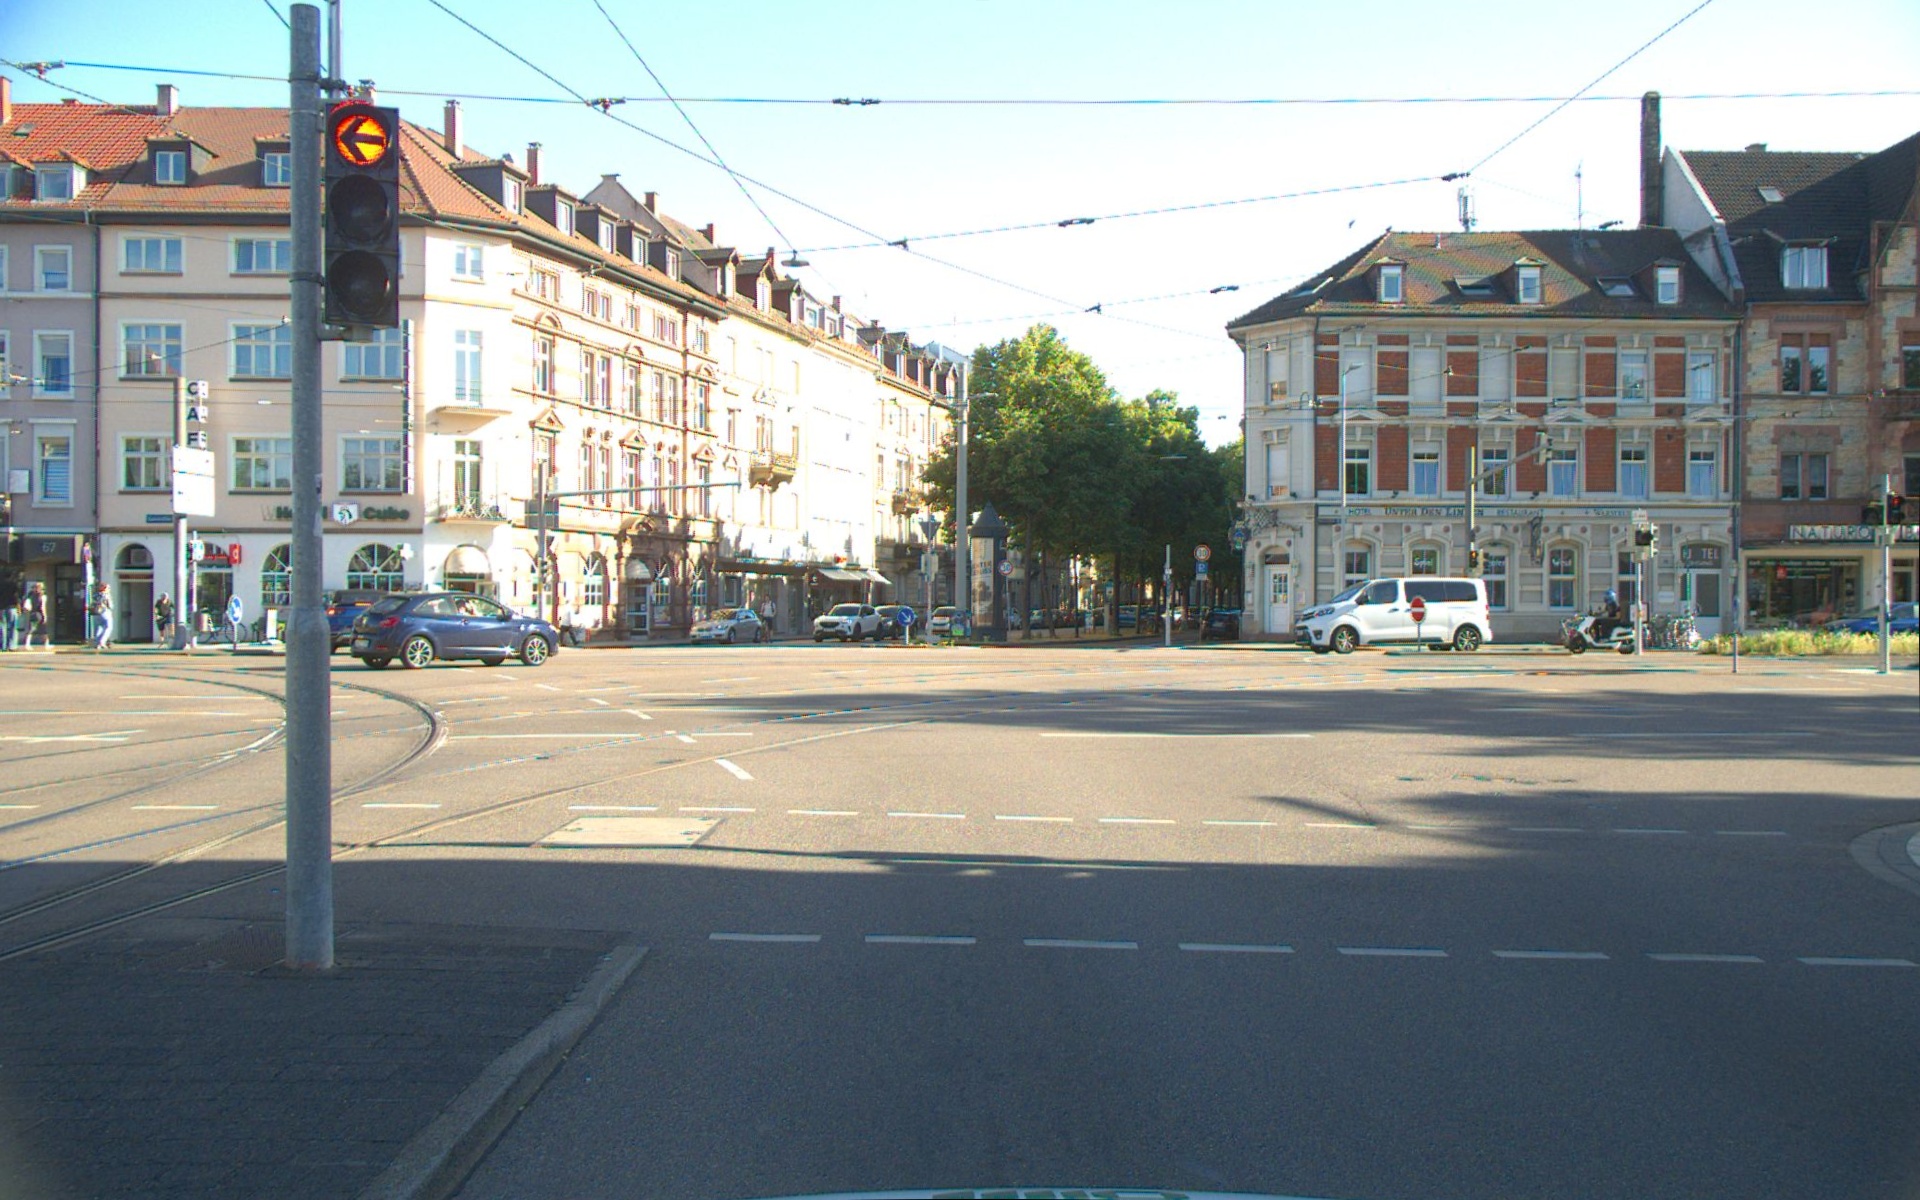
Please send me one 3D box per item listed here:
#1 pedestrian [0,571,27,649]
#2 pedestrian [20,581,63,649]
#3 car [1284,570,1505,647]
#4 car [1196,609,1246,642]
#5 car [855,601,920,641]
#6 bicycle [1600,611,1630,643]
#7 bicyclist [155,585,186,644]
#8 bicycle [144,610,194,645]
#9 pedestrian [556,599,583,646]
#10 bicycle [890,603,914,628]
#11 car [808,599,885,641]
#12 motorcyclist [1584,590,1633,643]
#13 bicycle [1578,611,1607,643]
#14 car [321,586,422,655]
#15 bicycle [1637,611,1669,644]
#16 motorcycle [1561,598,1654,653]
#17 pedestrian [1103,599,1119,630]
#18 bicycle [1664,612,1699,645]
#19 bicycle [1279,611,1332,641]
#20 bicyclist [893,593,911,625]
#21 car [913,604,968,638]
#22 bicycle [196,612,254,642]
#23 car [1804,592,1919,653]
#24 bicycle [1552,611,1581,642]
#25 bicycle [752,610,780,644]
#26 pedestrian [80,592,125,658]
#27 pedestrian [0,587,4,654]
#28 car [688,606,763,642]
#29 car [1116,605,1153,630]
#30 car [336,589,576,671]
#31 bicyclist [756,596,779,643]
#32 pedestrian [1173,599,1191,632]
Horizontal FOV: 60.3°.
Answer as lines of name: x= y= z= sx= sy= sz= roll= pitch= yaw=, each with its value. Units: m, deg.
pedestrian: x=-22.975 y=0.234 z=39.915 sx=0.516 sy=1.854 sz=0.676 roll=1 pitch=-1 yaw=-1
pedestrian: x=-22.932 y=0.374 z=41.308 sx=0.571 sy=1.677 sz=0.840 roll=1 pitch=-1 yaw=-1
car: x=11.046 y=0.206 z=42.209 sx=5.099 sy=1.886 sz=1.997 roll=0 pitch=0 yaw=-7
car: x=13.074 y=1.267 z=82.696 sx=1.719 sy=1.583 sz=4.001 roll=1 pitch=0 yaw=20
car: x=-3.193 y=0.927 z=73.549 sx=1.786 sy=1.715 sz=3.877 roll=1 pitch=0 yaw=16
bicycle: x=21.269 y=0.878 z=53.724 sx=0.749 sy=1.001 sz=2.211 roll=1 pitch=0 yaw=17
bicyclist: x=-24.851 y=0.453 z=52.050 sx=0.608 sy=1.822 sz=0.615 roll=1 pitch=-1 yaw=4
bicycle: x=-24.862 y=0.852 z=52.022 sx=0.608 sy=1.048 sz=1.755 roll=1 pitch=0 yaw=4
pedestrian: x=-14.148 y=0.812 z=59.956 sx=0.556 sy=1.671 sz=0.792 roll=1 pitch=-1 yaw=22
bicycle: x=-2.902 y=0.786 z=82.915 sx=0.659 sy=1.228 sz=1.822 roll=1 pitch=0 yaw=17
car: x=-4.569 y=0.803 z=67.178 sx=1.764 sy=1.613 sz=4.162 roll=1 pitch=0 yaw=16
motorcyclist: x=16.657 y=0.414 z=42.487 sx=0.993 sy=1.323 sz=0.790 roll=1 pitch=0 yaw=8
bicycle: x=20.558 y=0.866 z=53.795 sx=0.749 sy=0.985 sz=2.211 roll=1 pitch=0 yaw=17
car: x=-14.285 y=0.462 z=40.325 sx=1.793 sy=1.602 sz=4.185 roll=0 pitch=0 yaw=-13
bicycle: x=22.458 y=0.886 z=53.636 sx=0.749 sy=1.025 sz=2.221 roll=1 pitch=0 yaw=17
motorcycle: x=16.625 y=0.657 z=42.487 sx=2.090 sy=1.357 sz=0.797 roll=1 pitch=0 yaw=8
pedestrian: x=10.041 y=0.963 z=109.660 sx=0.923 sy=2.049 sz=0.827 roll=1 pitch=-1 yaw=13
bicycle: x=23.315 y=0.899 z=53.482 sx=0.775 sy=1.033 sz=2.211 roll=1 pitch=0 yaw=17
bicycle: x=11.976 y=0.901 z=57.285 sx=1.764 sy=0.979 sz=0.604 roll=1 pitch=0 yaw=14
bicyclist: x=-2.897 y=0.451 z=82.920 sx=0.659 sy=1.595 sz=0.748 roll=1 pitch=-1 yaw=17
car: x=-0.950 y=1.044 z=82.921 sx=1.764 sy=1.603 sz=3.893 roll=1 pitch=0 yaw=15
bicycle: x=-25.100 y=0.913 z=56.504 sx=1.666 sy=1.000 sz=0.611 roll=1 pitch=0 yaw=-1
car: x=25.915 y=0.632 z=46.027 sx=3.905 sy=1.650 sz=1.804 roll=1 pitch=0 yaw=0
bicycle: x=19.804 y=0.854 z=54.032 sx=0.749 sy=0.979 sz=2.211 roll=1 pitch=0 yaw=17
bicycle: x=-7.597 y=1.049 z=64.803 sx=0.553 sy=1.276 sz=1.558 roll=1 pitch=0 yaw=14
pedestrian: x=-21.366 y=0.621 z=41.227 sx=0.655 sy=1.622 sz=0.815 roll=1 pitch=-1 yaw=-1
pedestrian: x=-24.346 y=0.511 z=41.239 sx=0.561 sy=1.677 sz=0.727 roll=1 pitch=-1 yaw=-1
car: x=-9.463 y=0.956 z=66.889 sx=1.624 sy=1.398 sz=3.894 roll=1 pitch=0 yaw=14
car: x=12.345 y=1.216 z=116.773 sx=1.951 sy=1.713 sz=4.003 roll=1 pitch=0 yaw=15
car: x=-9.418 y=0.520 z=31.072 sx=1.801 sy=1.428 sz=3.972 roll=0 pitch=0 yaw=44
bicyclist: x=-7.559 y=0.772 z=64.976 sx=0.553 sy=1.835 sz=0.915 roll=1 pitch=-1 yaw=14
pedestrian: x=13.841 y=0.970 z=103.044 sx=0.941 sy=2.049 sz=0.918 roll=1 pitch=-1 yaw=0
